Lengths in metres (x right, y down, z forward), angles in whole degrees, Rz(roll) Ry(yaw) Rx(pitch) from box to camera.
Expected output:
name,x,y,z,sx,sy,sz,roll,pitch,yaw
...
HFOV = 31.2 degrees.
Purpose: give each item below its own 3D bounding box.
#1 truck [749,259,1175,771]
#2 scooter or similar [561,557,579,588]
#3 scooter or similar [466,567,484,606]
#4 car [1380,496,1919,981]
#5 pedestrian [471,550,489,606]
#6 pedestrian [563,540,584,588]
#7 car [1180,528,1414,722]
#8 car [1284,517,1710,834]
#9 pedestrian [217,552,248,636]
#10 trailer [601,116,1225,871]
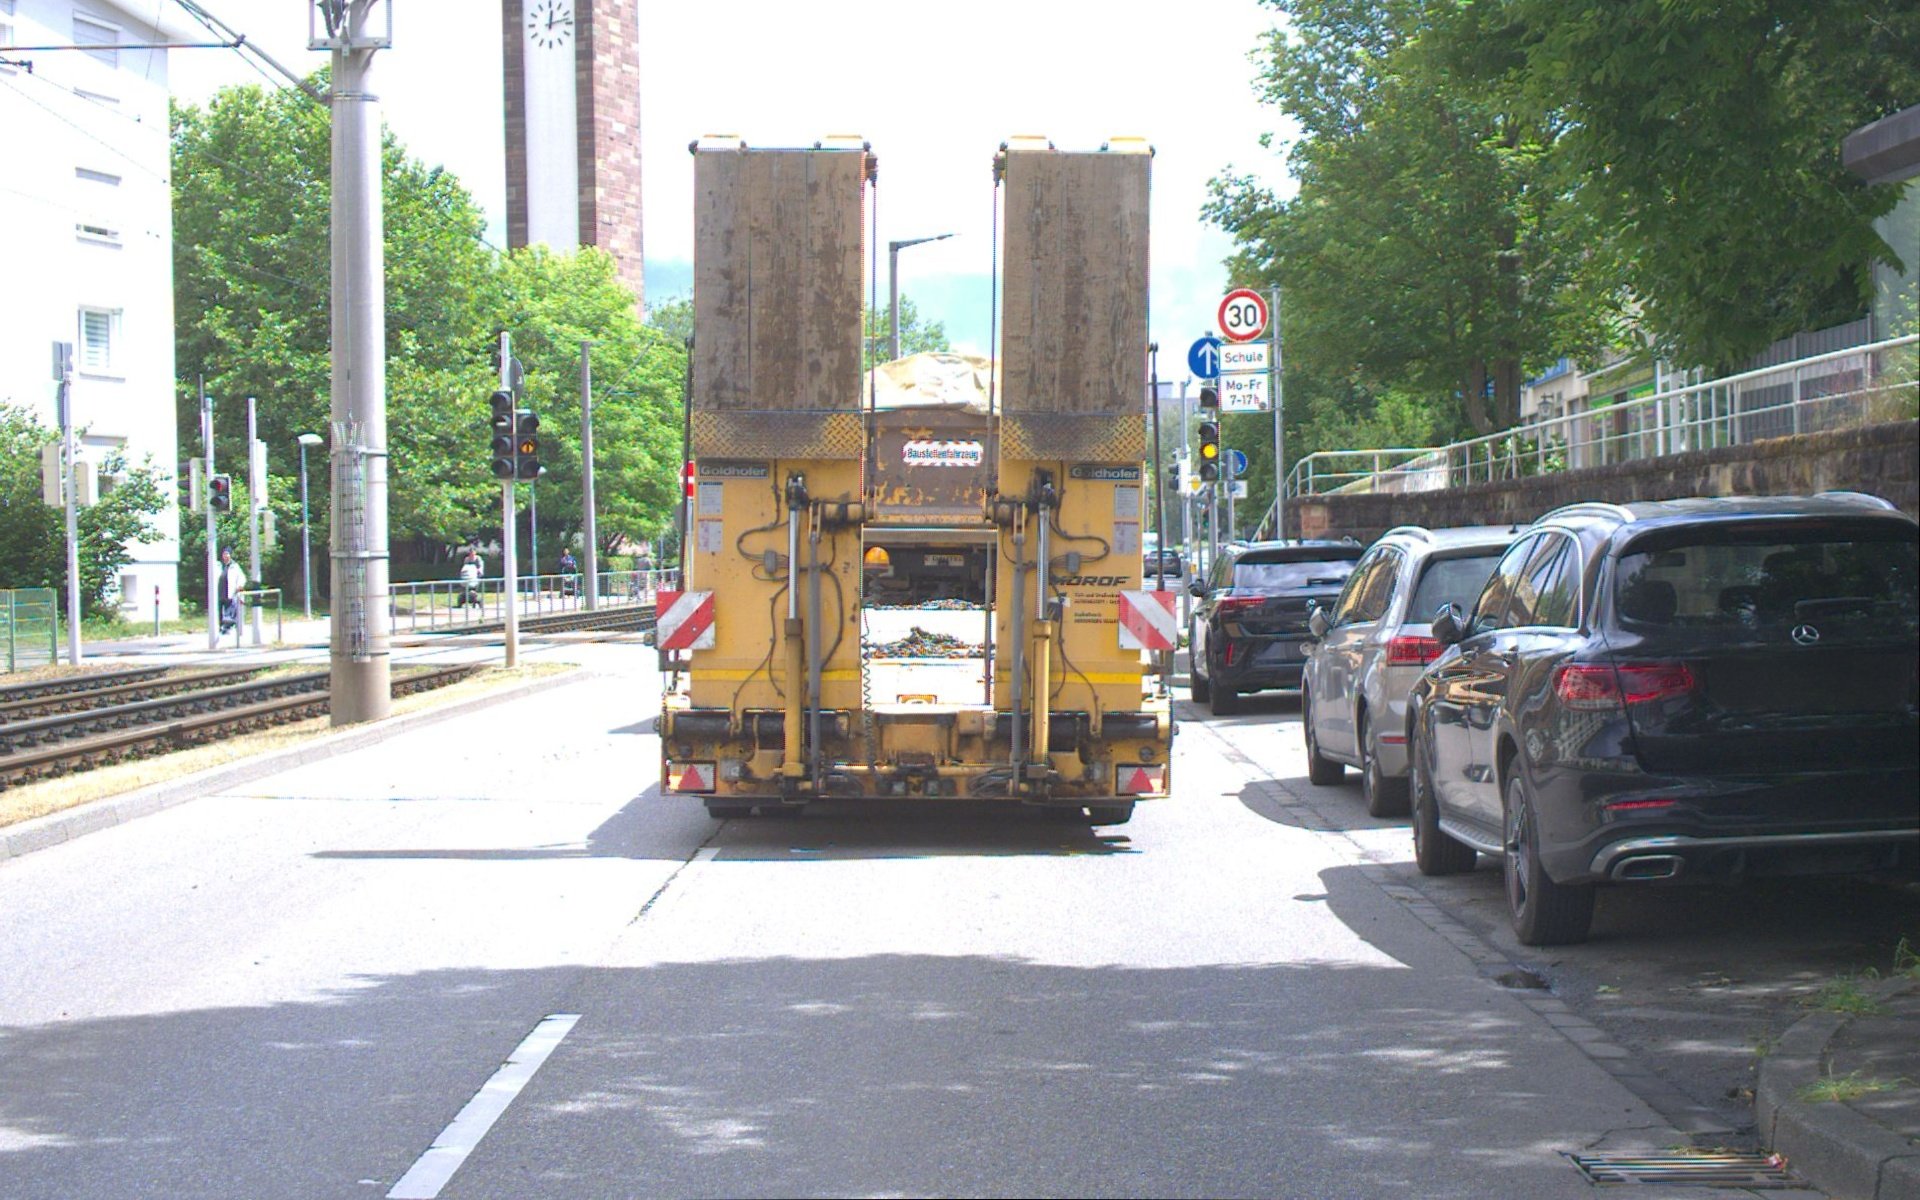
name,x,y,z,sx,sy,sz,roll,pitch,yaw
truck,0.094,-0.637,26.578,2.943,3.560,4.876,1,1,2
scooter or similar,-12.367,-0.886,109.007,0.505,0.968,0.646,1,1,0
scooter or similar,-13.081,-0.371,92.712,0.338,1.054,0.687,0,1,4
car,2.920,0.436,14.045,1.790,1.612,4.448,-3,1,0
pedestrian,-13.038,-0.602,93.352,0.348,1.532,0.557,0,1,5
pedestrian,-12.339,-1.156,109.659,0.563,1.508,0.646,1,1,0
car,3.083,0.196,32.139,1.851,1.633,4.000,-2,1,2
car,3.031,0.370,20.235,1.790,1.612,4.249,-2,1,0
pedestrian,-13.728,-0.107,64.859,0.438,1.575,0.474,0,1,5
trailer,-0.100,-0.572,20.951,2.945,3.589,8.683,1,1,2
